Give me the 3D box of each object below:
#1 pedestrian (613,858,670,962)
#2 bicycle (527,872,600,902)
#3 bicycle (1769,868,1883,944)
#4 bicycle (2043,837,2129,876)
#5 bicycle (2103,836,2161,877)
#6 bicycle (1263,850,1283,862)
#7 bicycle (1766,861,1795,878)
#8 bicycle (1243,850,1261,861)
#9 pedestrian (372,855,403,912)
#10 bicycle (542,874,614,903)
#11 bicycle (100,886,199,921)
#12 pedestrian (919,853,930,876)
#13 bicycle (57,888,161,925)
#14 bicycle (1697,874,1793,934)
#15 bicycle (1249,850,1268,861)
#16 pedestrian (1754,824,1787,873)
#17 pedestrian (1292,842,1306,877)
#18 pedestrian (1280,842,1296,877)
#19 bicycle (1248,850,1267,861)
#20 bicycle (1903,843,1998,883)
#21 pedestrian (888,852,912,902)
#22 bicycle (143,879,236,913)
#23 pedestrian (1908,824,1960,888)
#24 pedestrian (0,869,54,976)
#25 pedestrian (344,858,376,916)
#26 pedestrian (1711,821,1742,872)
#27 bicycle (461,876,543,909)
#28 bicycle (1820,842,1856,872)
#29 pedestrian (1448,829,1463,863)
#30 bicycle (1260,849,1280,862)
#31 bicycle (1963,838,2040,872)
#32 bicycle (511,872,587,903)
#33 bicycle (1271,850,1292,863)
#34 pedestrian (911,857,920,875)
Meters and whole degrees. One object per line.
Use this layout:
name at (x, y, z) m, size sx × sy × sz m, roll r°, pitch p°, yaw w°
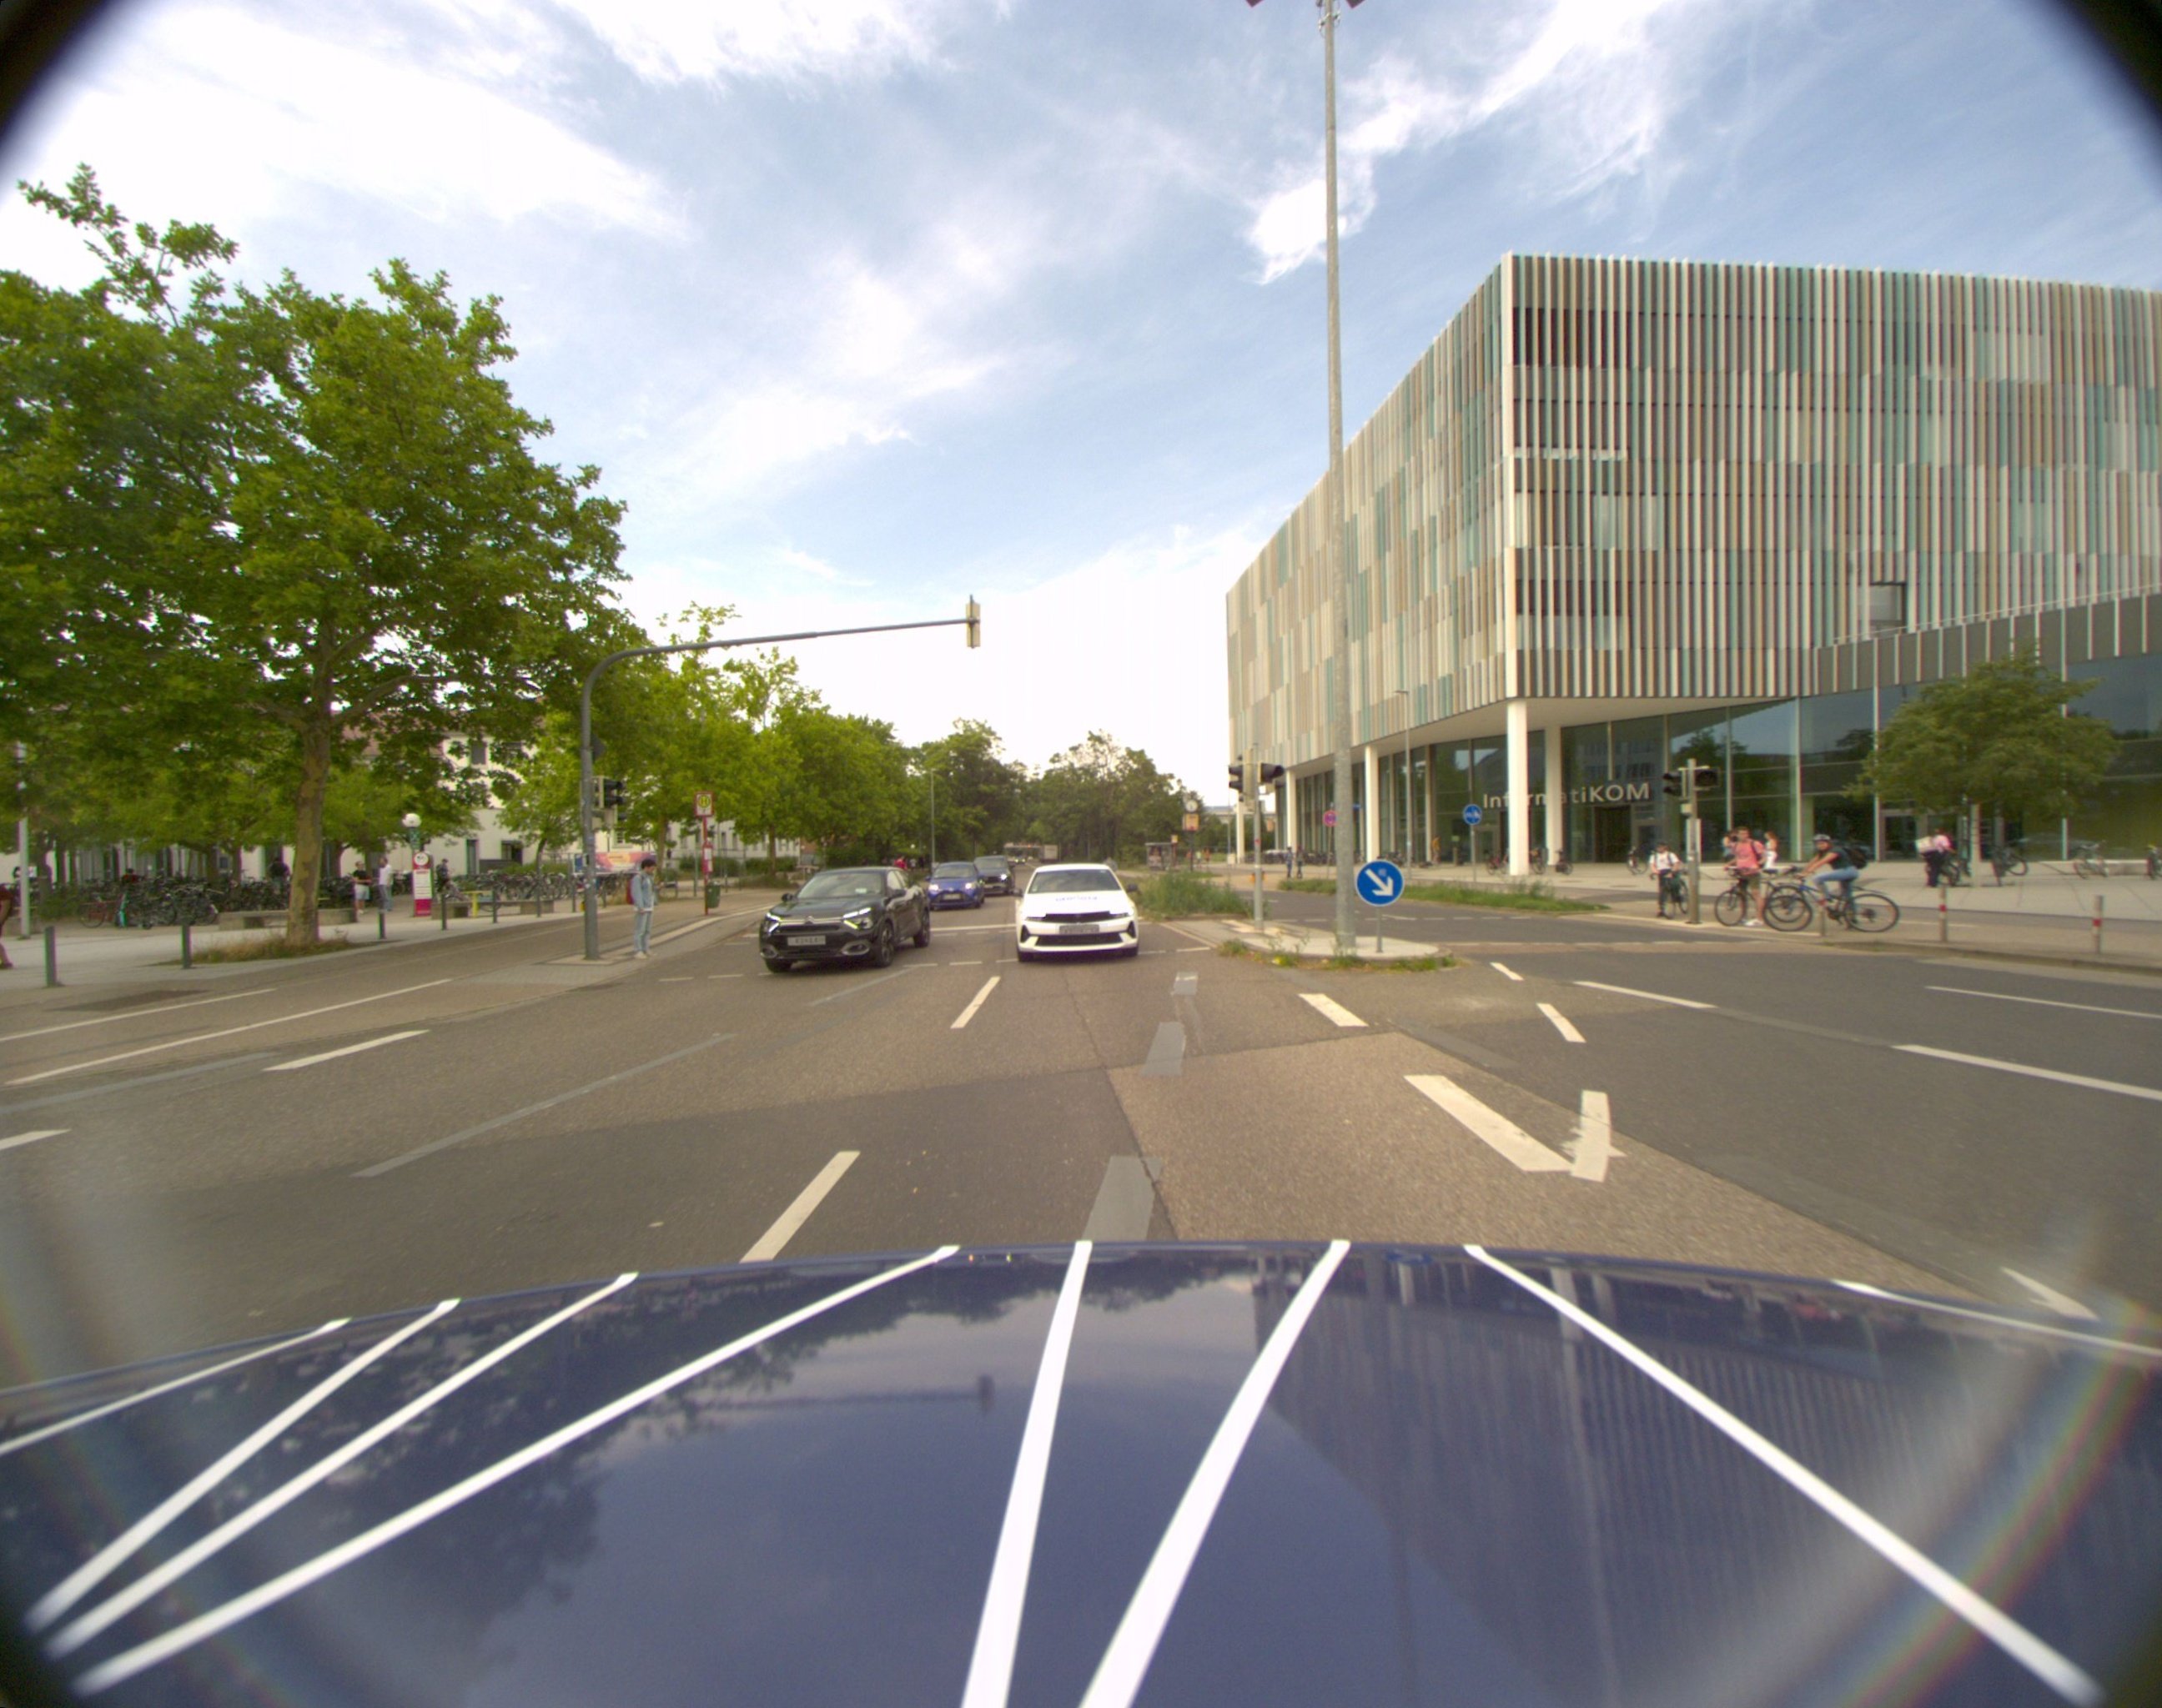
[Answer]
pedestrian at (-7.962, 0.995, 13.795) m, size 0.574 × 1.806 × 0.681 m, roll -2°, pitch 1°, yaw -1°
bicycle at (-21.490, 1.355, 31.576) m, size 2.472 × 1.136 × 0.717 m, roll -2°, pitch 1°, yaw -3°
bicycle at (12.782, 0.863, 13.036) m, size 1.897 × 1.163 × 0.606 m, roll -2°, pitch 1°, yaw -19°
bicycle at (30.380, 0.062, 22.965) m, size 2.685 × 1.083 × 0.796 m, roll -2°, pitch 1°, yaw -19°
bicycle at (30.614, 0.059, 21.792) m, size 2.685 × 1.083 × 0.796 m, roll -2°, pitch 1°, yaw -19°
bicycle at (17.407, 0.168, 68.865) m, size 1.704 × 1.017 × 0.434 m, roll -4°, pitch 1°, yaw -9°
bicycle at (25.560, 0.554, 27.779) m, size 0.622 × 0.519 × 2.255 m, roll -1°, pitch 0°, yaw 38°
bicycle at (17.021, 0.118, 75.695) m, size 1.704 × 1.017 × 0.434 m, roll -4°, pitch 1°, yaw -9°
pedestrian at (-24.343, 1.026, 26.677) m, size 0.687 × 1.952 × 0.601 m, roll -4°, pitch 1°, yaw -44°
bicycle at (-21.437, 1.469, 32.403) m, size 2.472 × 1.136 × 0.717 m, roll -2°, pitch 1°, yaw -3°
bicycle at (-33.404, 1.771, 27.267) m, size 2.472 × 1.136 × 0.717 m, roll -2°, pitch 1°, yaw -3°
pedestrian at (-13.632, 0.894, 66.328) m, size 0.798 × 1.922 × 0.759 m, roll -2°, pitch 1°, yaw -5°
bicycle at (-33.332, 1.782, 26.072) m, size 2.472 × 1.136 × 0.717 m, roll -2°, pitch 1°, yaw -3°
bicycle at (12.636, 0.931, 14.451) m, size 1.693 × 0.983 × 0.571 m, roll -3°, pitch 1°, yaw -18°
bicycle at (17.130, 0.143, 73.338) m, size 1.704 × 1.017 × 0.434 m, roll -4°, pitch 1°, yaw -9°
pedestrian at (23.237, -0.188, 25.611) m, size 0.731 × 1.591 × 0.677 m, roll -2°, pitch 1°, yaw -35°
pedestrian at (11.552, 0.272, 40.282) m, size 0.512 × 1.826 × 0.624 m, roll -2°, pitch 0°, yaw -5°
pedestrian at (10.909, 0.291, 40.008) m, size 0.512 × 1.826 × 0.772 m, roll -2°, pitch 0°, yaw -5°
bicycle at (17.230, 0.127, 74.226) m, size 1.704 × 1.017 × 0.434 m, roll -4°, pitch 1°, yaw -9°
bicycle at (22.540, 0.219, 19.745) m, size 0.440 × 0.993 × 1.748 m, roll -2°, pitch 0°, yaw -1°
pedestrian at (-6.874, 0.840, 28.899) m, size 0.727 × 1.843 × 1.064 m, roll -2°, pitch 1°, yaw -6°
bicycle at (-33.503, 1.565, 28.582) m, size 2.472 × 1.136 × 0.717 m, roll -2°, pitch 1°, yaw -3°
pedestrian at (21.623, 0.048, 19.263) m, size 0.652 × 1.572 × 0.574 m, roll -2°, pitch 1°, yaw 0°
pedestrian at (-18.602, 1.175, 12.983) m, size 0.769 × 1.794 × 0.891 m, roll -3°, pitch 1°, yaw 0°
pedestrian at (-24.846, 1.133, 26.191) m, size 0.687 × 1.952 × 0.601 m, roll -4°, pitch 1°, yaw -44°
pedestrian at (22.348, -0.252, 26.294) m, size 0.731 × 1.730 × 0.677 m, roll -2°, pitch 1°, yaw -38°
bicycle at (-21.972, 1.453, 28.856) m, size 2.472 × 1.136 × 0.717 m, roll -2°, pitch 1°, yaw -3°
bicycle at (26.756, 0.099, 26.883) m, size 0.622 × 0.979 × 2.255 m, roll -1°, pitch 1°, yaw 38°
pedestrian at (22.633, -0.475, 45.881) m, size 0.512 × 2.031 × 0.624 m, roll -2°, pitch 0°, yaw -6°
bicycle at (17.316, 0.141, 69.711) m, size 1.704 × 1.017 × 0.434 m, roll -4°, pitch 1°, yaw -9°
bicycle at (29.353, 0.020, 24.232) m, size 2.685 × 0.994 × 0.672 m, roll -2°, pitch 1°, yaw -19°
bicycle at (-21.479, 1.338, 30.707) m, size 2.472 × 1.136 × 0.717 m, roll -2°, pitch 1°, yaw -3°
bicycle at (17.770, 0.212, 67.246) m, size 1.704 × 1.017 × 0.389 m, roll -4°, pitch 1°, yaw -9°
pedestrian at (-14.447, 1.042, 66.368) m, size 0.646 × 1.556 × 0.804 m, roll -2°, pitch 1°, yaw -6°
